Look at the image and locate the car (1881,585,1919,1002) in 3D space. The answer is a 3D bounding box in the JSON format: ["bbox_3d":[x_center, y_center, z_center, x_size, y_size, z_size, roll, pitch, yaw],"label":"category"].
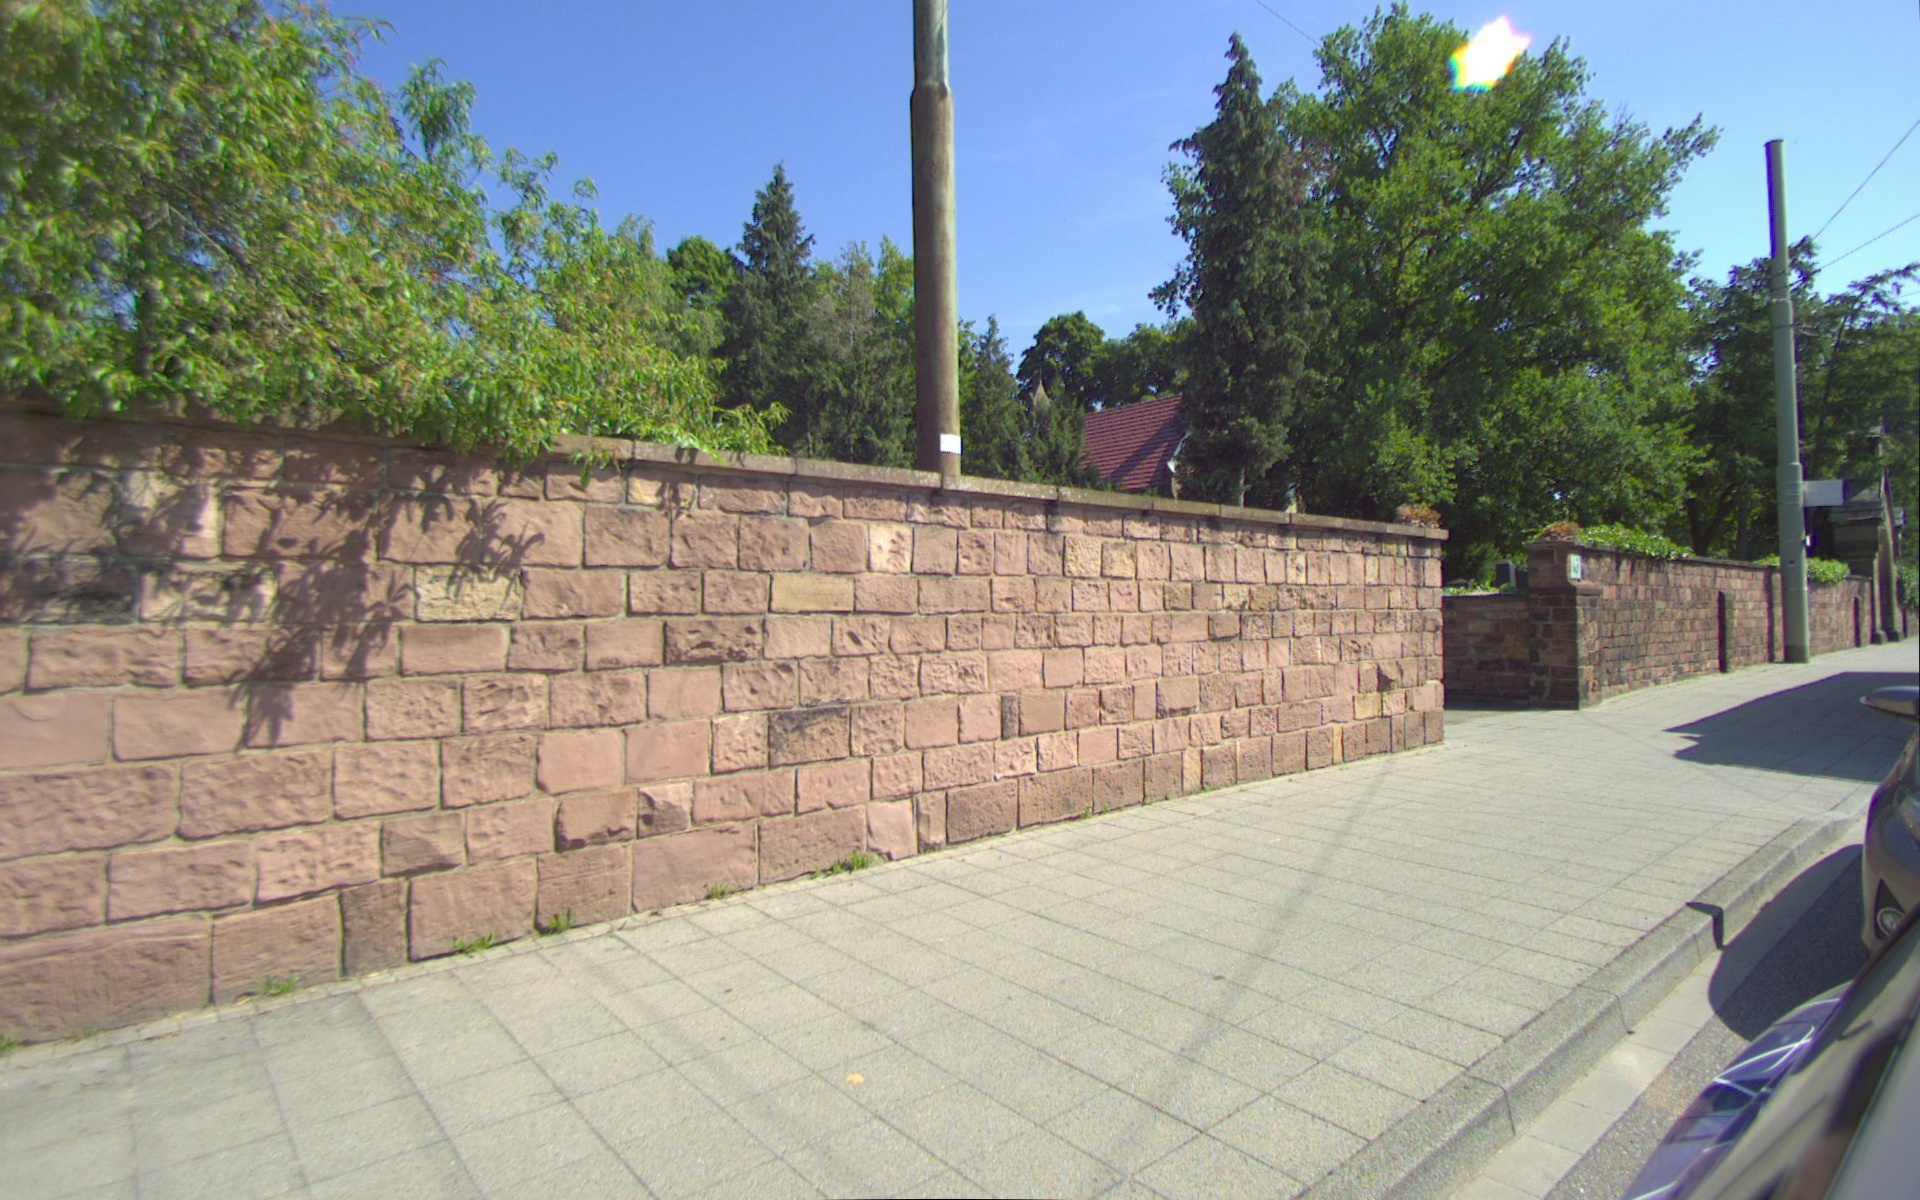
[{"bbox_3d":[5.174,0.648,4.141,3.930,1.400,1.653,0,0,-41],"label":"car"}]
